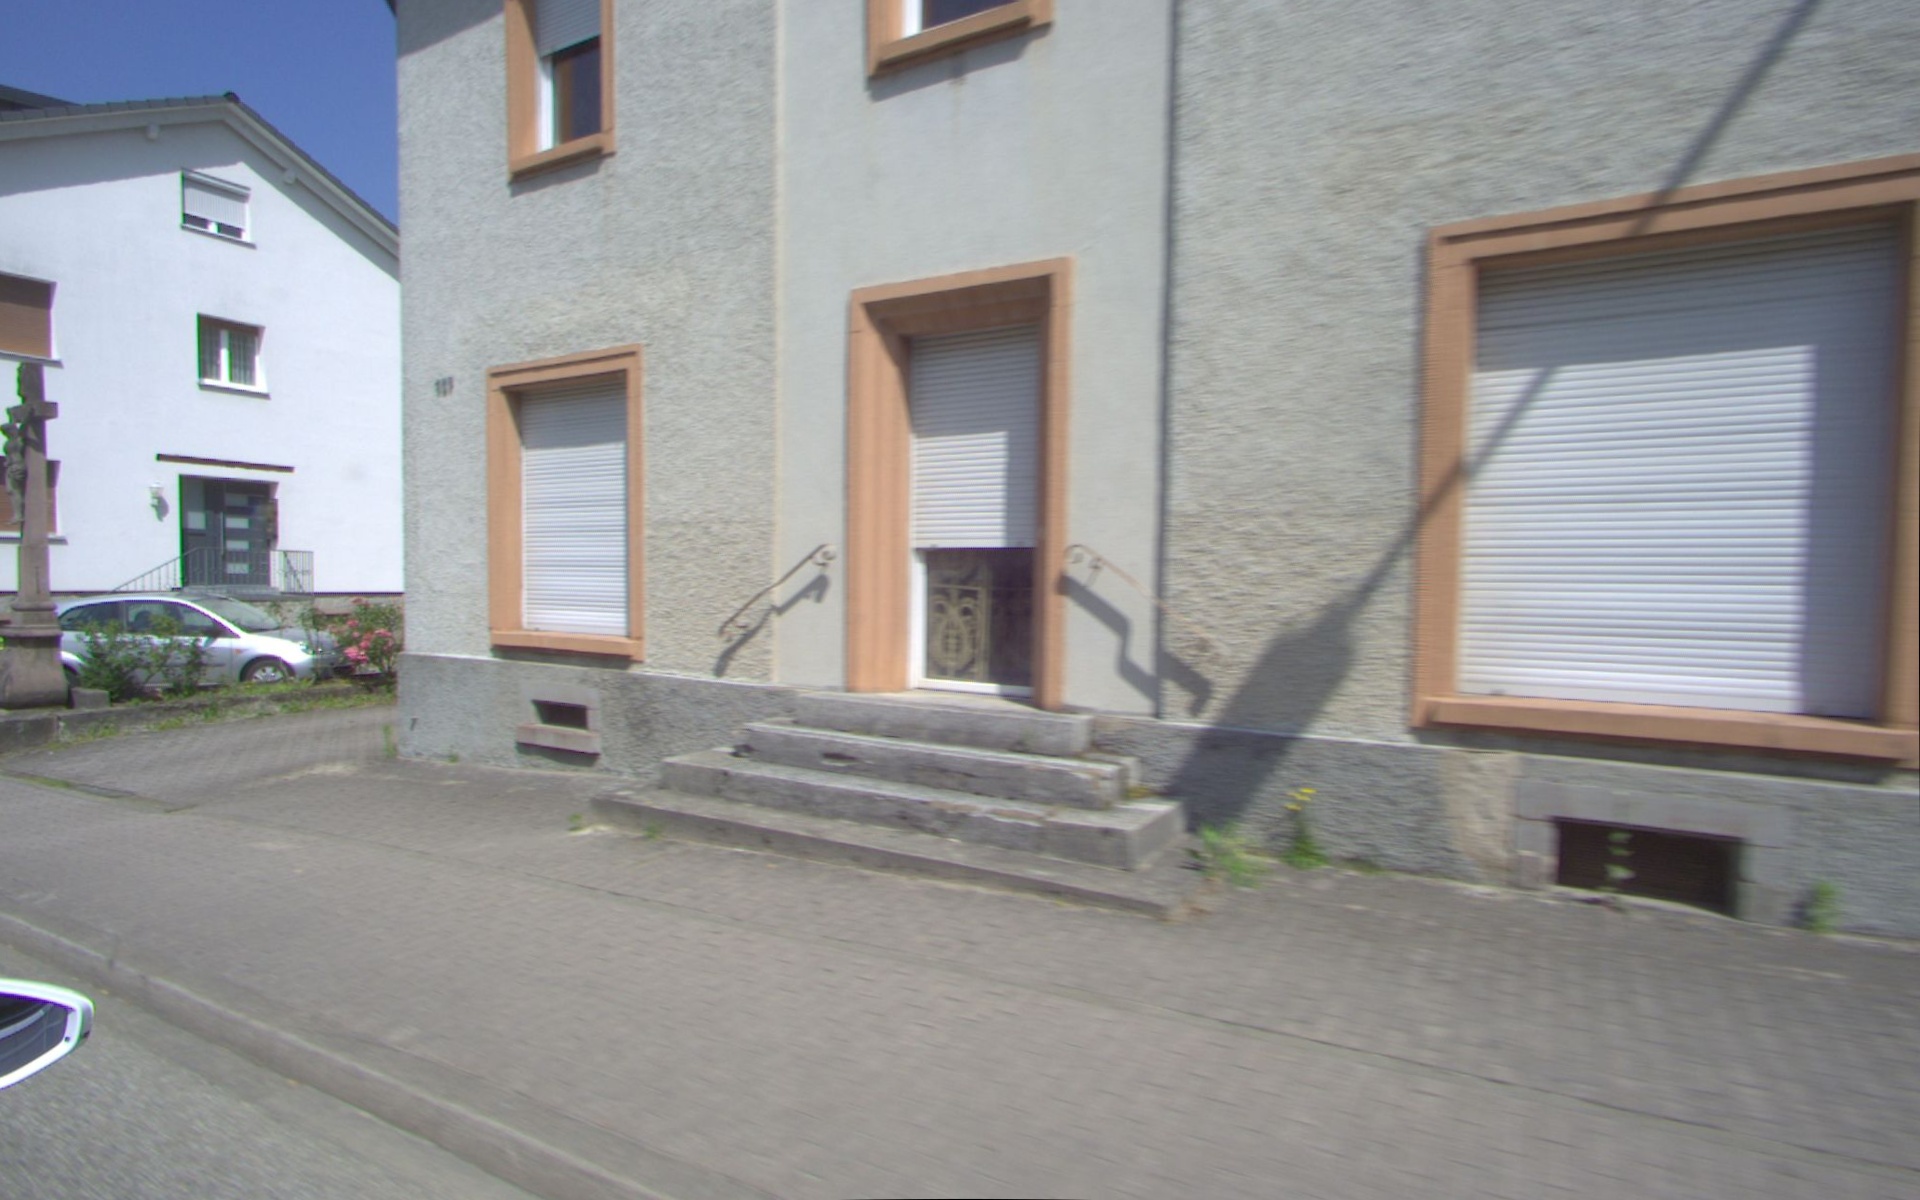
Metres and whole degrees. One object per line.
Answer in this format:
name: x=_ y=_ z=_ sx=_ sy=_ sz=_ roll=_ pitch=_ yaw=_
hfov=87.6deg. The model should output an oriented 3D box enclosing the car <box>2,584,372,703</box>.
car: x=-10.615 y=0.545 z=14.063 sx=3.707 sy=1.448 sz=1.606 roll=0 pitch=5 yaw=-14
